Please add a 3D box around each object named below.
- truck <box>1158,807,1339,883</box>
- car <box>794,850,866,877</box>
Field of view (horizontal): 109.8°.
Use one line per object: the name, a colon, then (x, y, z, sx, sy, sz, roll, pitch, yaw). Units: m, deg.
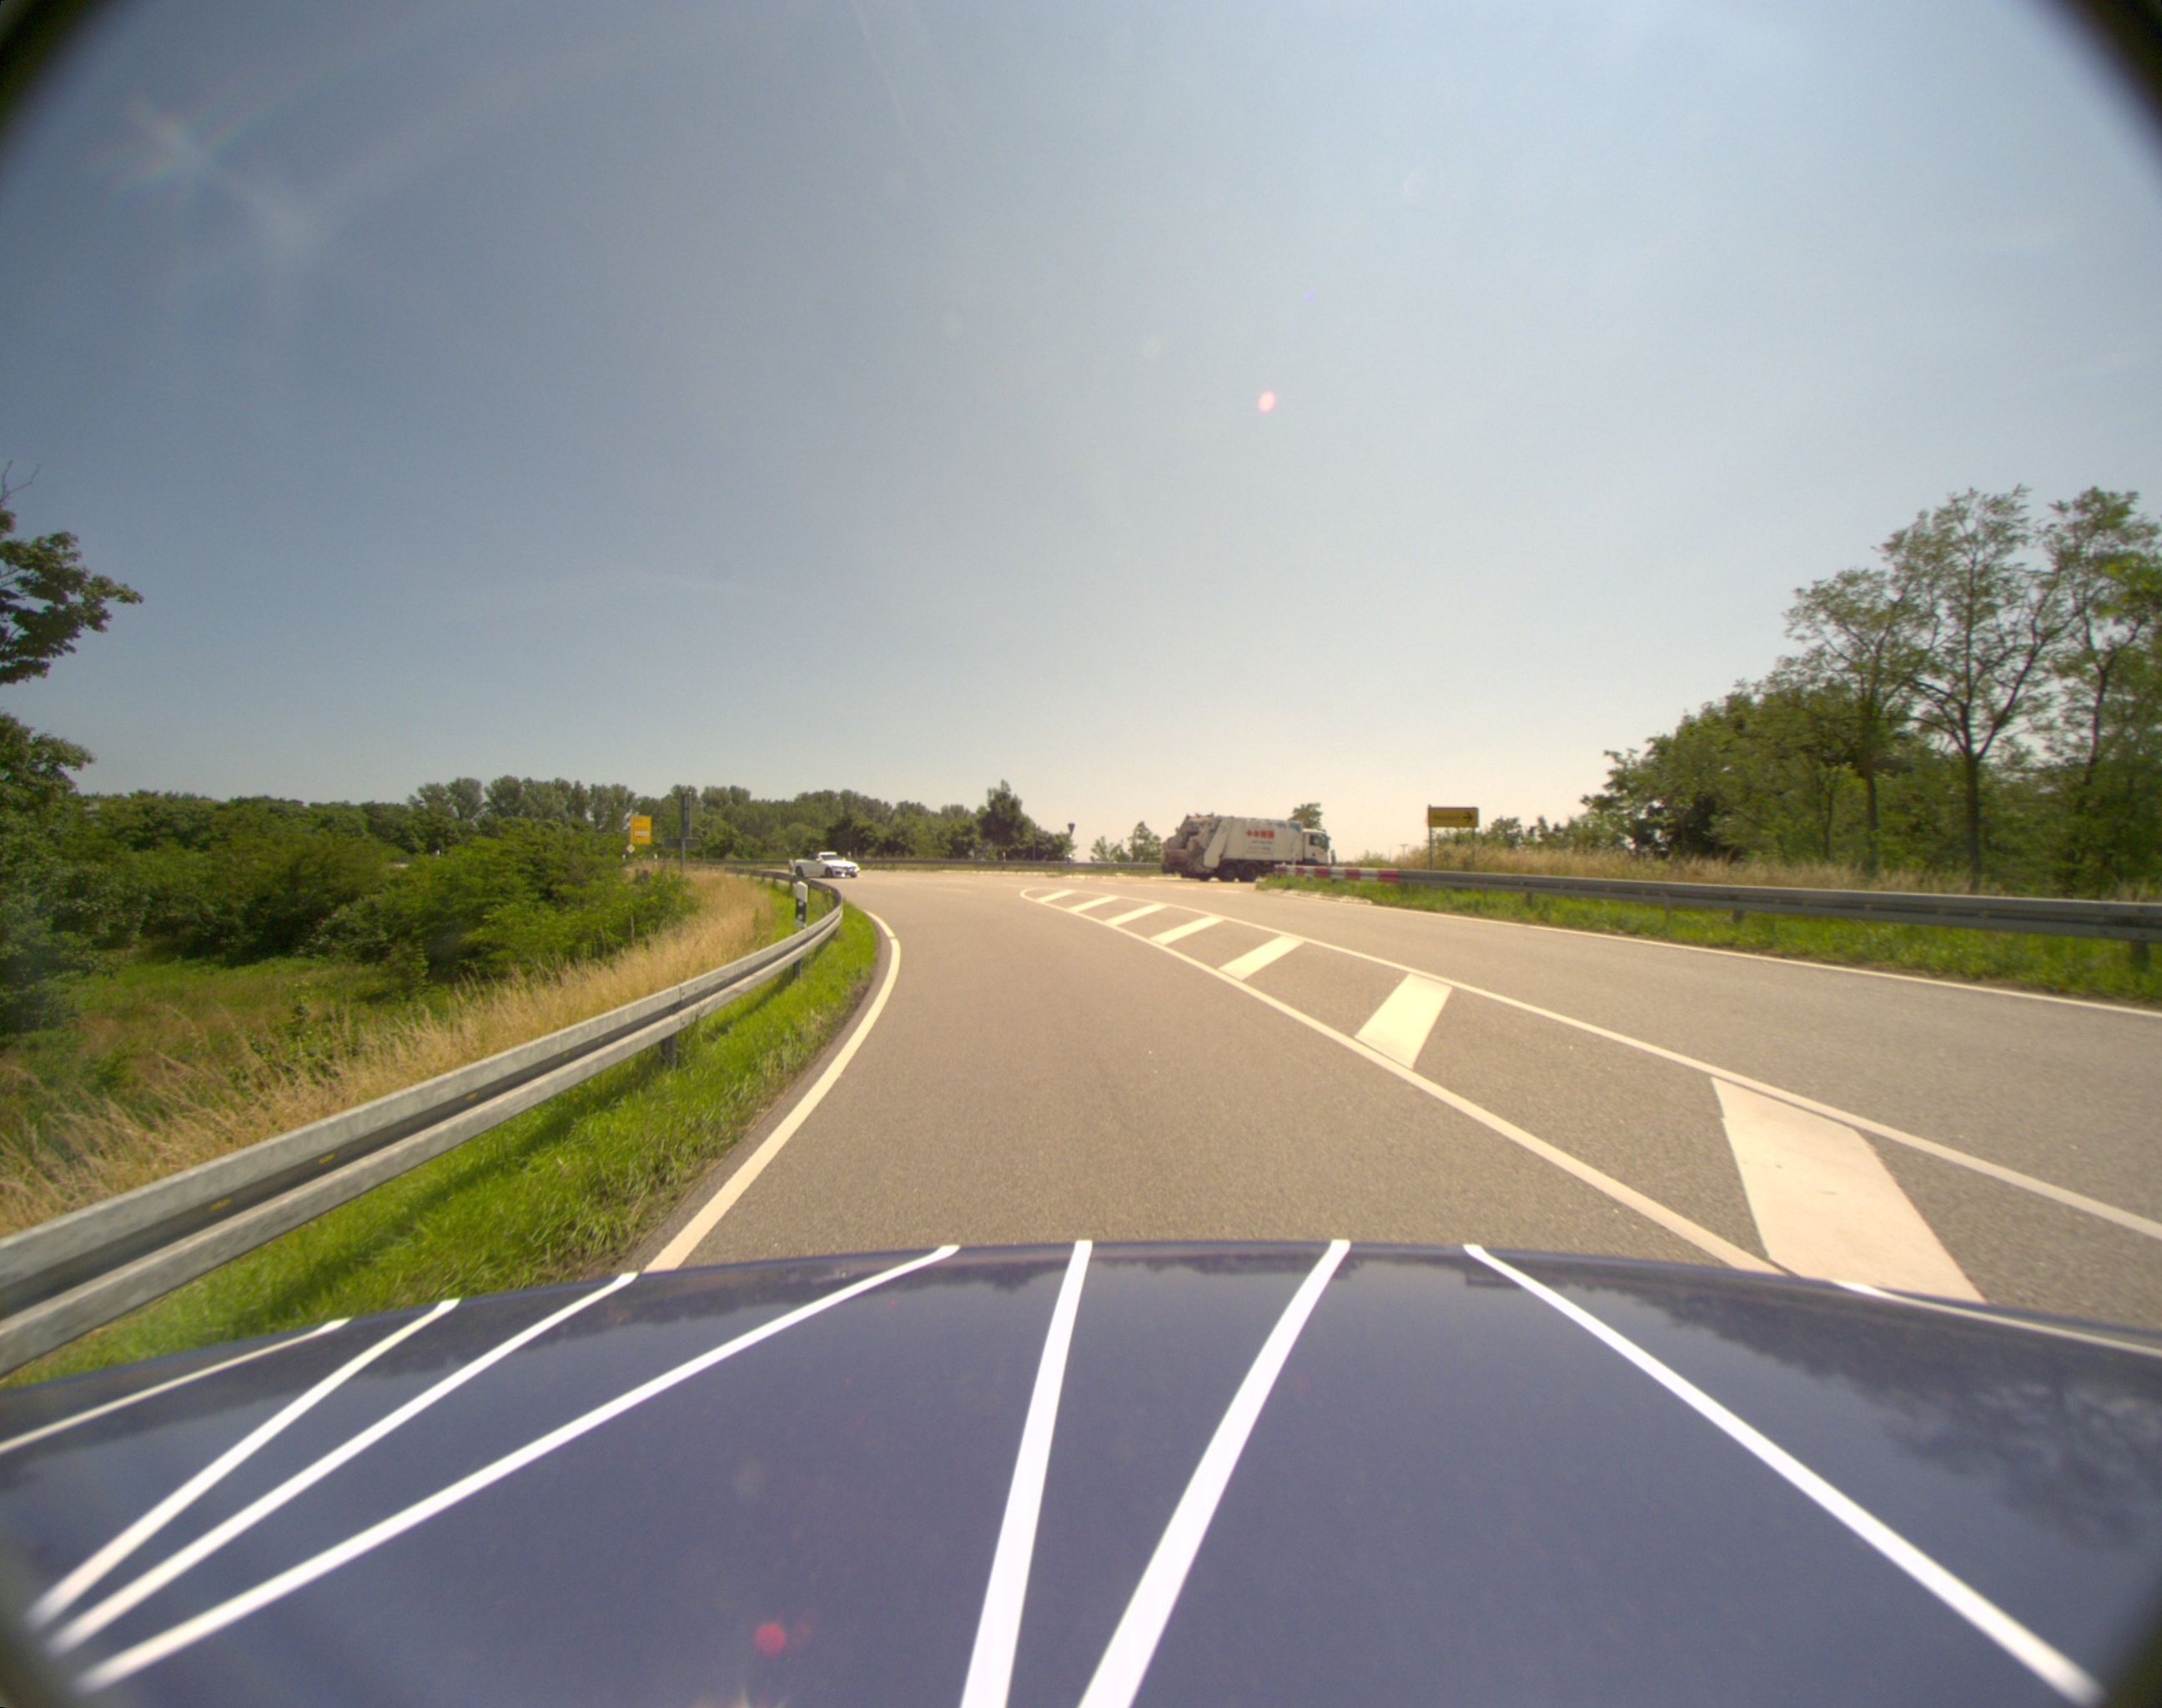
truck: (9.349, -0.437, 41.948, 9.962, 3.648, 2.815, 2, 2, -25)
car: (-14.553, 0.563, 43.986, 4.099, 1.407, 1.817, -1, 2, 36)
